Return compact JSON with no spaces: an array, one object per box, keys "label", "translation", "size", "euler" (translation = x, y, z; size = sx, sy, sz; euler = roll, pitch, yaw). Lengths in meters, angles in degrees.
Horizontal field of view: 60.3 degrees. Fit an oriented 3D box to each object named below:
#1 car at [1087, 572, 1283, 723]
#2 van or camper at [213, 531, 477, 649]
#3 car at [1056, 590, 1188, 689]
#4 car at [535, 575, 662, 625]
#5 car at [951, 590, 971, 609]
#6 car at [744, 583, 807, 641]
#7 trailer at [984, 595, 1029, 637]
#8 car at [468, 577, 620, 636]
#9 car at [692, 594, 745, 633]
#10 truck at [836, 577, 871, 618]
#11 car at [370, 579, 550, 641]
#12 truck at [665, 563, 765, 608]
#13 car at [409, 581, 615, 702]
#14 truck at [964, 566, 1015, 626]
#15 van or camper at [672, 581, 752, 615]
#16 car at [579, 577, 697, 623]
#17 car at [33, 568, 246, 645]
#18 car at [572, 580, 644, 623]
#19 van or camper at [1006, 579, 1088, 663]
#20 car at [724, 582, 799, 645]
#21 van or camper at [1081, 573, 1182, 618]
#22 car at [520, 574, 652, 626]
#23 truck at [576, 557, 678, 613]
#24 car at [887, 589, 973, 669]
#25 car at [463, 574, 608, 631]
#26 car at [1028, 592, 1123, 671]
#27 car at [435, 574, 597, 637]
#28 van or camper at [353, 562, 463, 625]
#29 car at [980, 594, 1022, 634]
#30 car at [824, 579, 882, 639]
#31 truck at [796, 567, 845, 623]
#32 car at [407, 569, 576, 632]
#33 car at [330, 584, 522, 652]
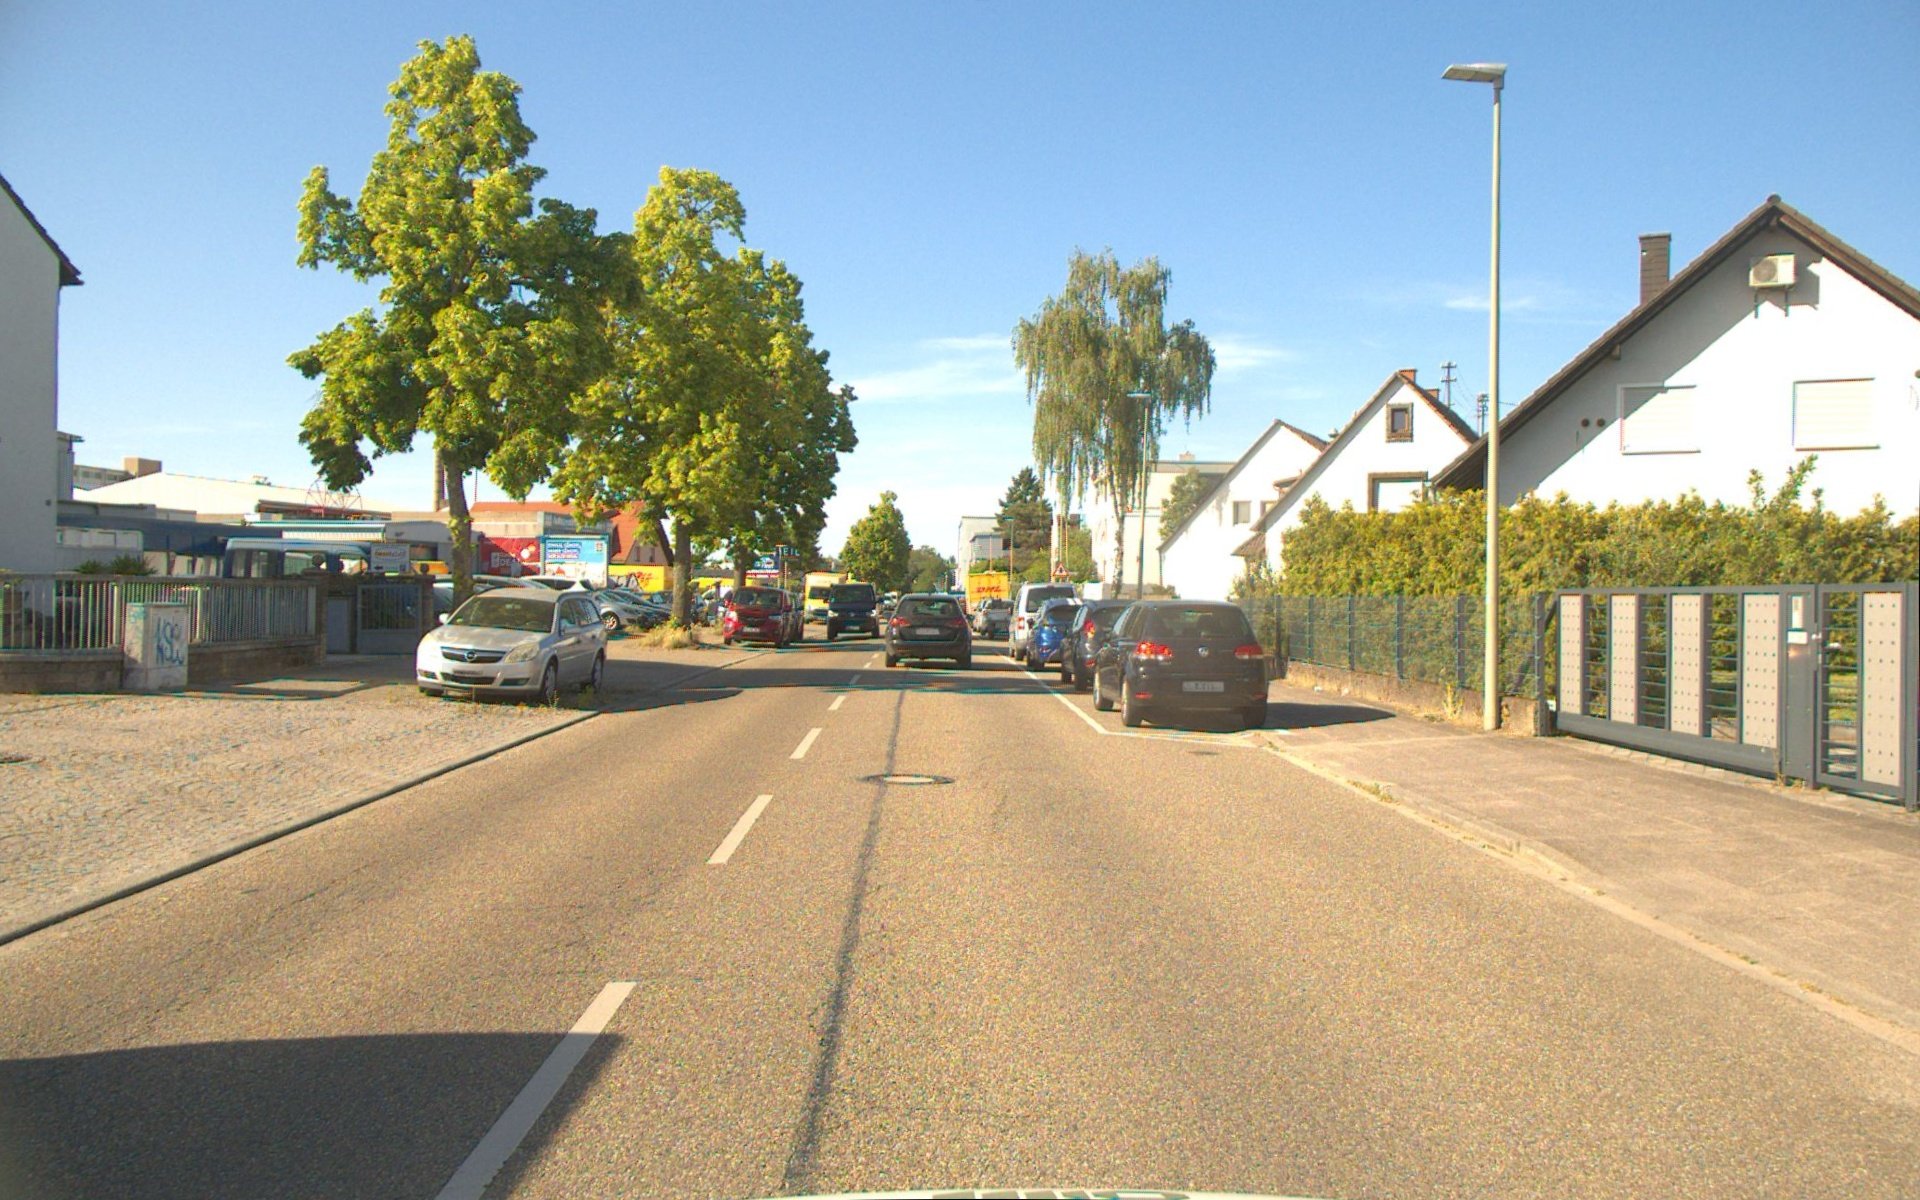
[{"label":"car","translation":[2.721,0.538,20.799],"size":[1.740,1.688,3.814],"euler":[1,0,-3]},{"label":"van or camper","translation":[-13.151,-0.209,35.498],"size":[4.788,2.361,2.245],"euler":[1,-1,11]},{"label":"car","translation":[2.668,0.626,28.021],"size":[1.684,1.531,3.905],"euler":[1,0,-2]},{"label":"car","translation":[-13.100,-0.012,60.078],"size":[4.159,1.759,1.767],"euler":[0,0,4]},{"label":"car","translation":[0.105,-0.055,167.151],"size":[1.880,1.857,4.079],"euler":[1,0,-1]},{"label":"car","translation":[-6.217,0.377,56.138],"size":[1.640,1.802,4.553],"euler":[3,0,-2]},{"label":"trailer","translation":[1.744,0.588,62.701],"size":[1.594,1.565,3.198],"euler":[1,0,0]},{"label":"car","translation":[-12.749,0.181,50.855],"size":[4.159,1.759,1.767],"euler":[0,0,4]},{"label":"car","translation":[-10.761,0.618,73.919],"size":[1.824,1.618,4.274],"euler":[1,-2,-2]},{"label":"truck","translation":[-8.348,-0.198,130.288],"size":[2.354,3.035,6.372],"euler":[2,0,-1]},{"label":"car","translation":[-13.137,0.248,43.583],"size":[4.160,1.568,1.767],"euler":[0,1,3]},{"label":"truck","translation":[-15.465,-0.914,104.610],"size":[5.795,2.612,2.225],"euler":[2,0,10]},{"label":"car","translation":[-6.205,0.523,23.377],"size":[1.652,1.460,4.209],"euler":[3,0,1]},{"label":"truck","translation":[1.485,-0.187,86.802],"size":[2.354,2.988,7.014],"euler":[-2,0,-1]},{"label":"van or camper","translation":[-15.249,-0.127,101.887],"size":[4.447,2.049,2.252],"euler":[0,0,5]},{"label":"car","translation":[-12.583,0.004,64.769],"size":[4.159,1.759,1.767],"euler":[0,0,4]},{"label":"car","translation":[-17.663,0.156,35.667],"size":[3.897,1.607,1.680],"euler":[0,-2,13]},{"label":"car","translation":[-15.635,0.051,73.634],"size":[1.738,1.779,4.168],"euler":[1,1,10]},{"label":"van or camper","translation":[2.088,0.488,40.637],"size":[1.684,1.924,4.179],"euler":[1,0,-1]},{"label":"car","translation":[-6.046,0.398,50.760],"size":[1.767,1.783,4.341],"euler":[2,0,-1]},{"label":"van or camper","translation":[10.283,-0.265,99.024],"size":[5.744,2.586,2.270],"euler":[1,0,-27]},{"label":"car","translation":[-13.037,0.001,57.829],"size":[4.161,1.759,1.766],"euler":[0,0,1]},{"label":"truck","translation":[-20.572,-0.922,102.332],"size":[5.548,3.174,2.525],"euler":[2,0,10]},{"label":"car","translation":[-0.582,0.554,34.008],"size":[1.676,1.559,3.687],"euler":[0,0,0]},{"label":"car","translation":[-13.563,0.084,52.971],"size":[4.159,1.759,1.767],"euler":[0,0,4]},{"label":"car","translation":[2.370,0.623,34.686],"size":[1.684,1.531,3.563],"euler":[1,0,-1]},{"label":"car","translation":[-12.828,0.159,47.909],"size":[4.160,1.783,1.766],"euler":[0,0,2]},{"label":"van or camper","translation":[-25.430,-0.294,76.466],"size":[2.118,2.763,6.274],"euler":[1,0,9]},{"label":"car","translation":[1.731,0.550,68.619],"size":[1.639,1.569,4.044],"euler":[1,0,2]},{"label":"car","translation":[-3.899,0.319,61.081],"size":[1.855,2.067,4.817],"euler":[-1,0,-1]},{"label":"truck","translation":[-8.070,-0.282,96.354],"size":[2.354,3.035,7.242],"euler":[2,0,-2]},{"label":"car","translation":[-12.977,0.008,45.963],"size":[4.163,1.613,1.765],"euler":[1,0,-2]},{"label":"car","translation":[-13.293,0.432,41.280],"size":[4.159,1.569,1.767],"euler":[1,0,4]}]
